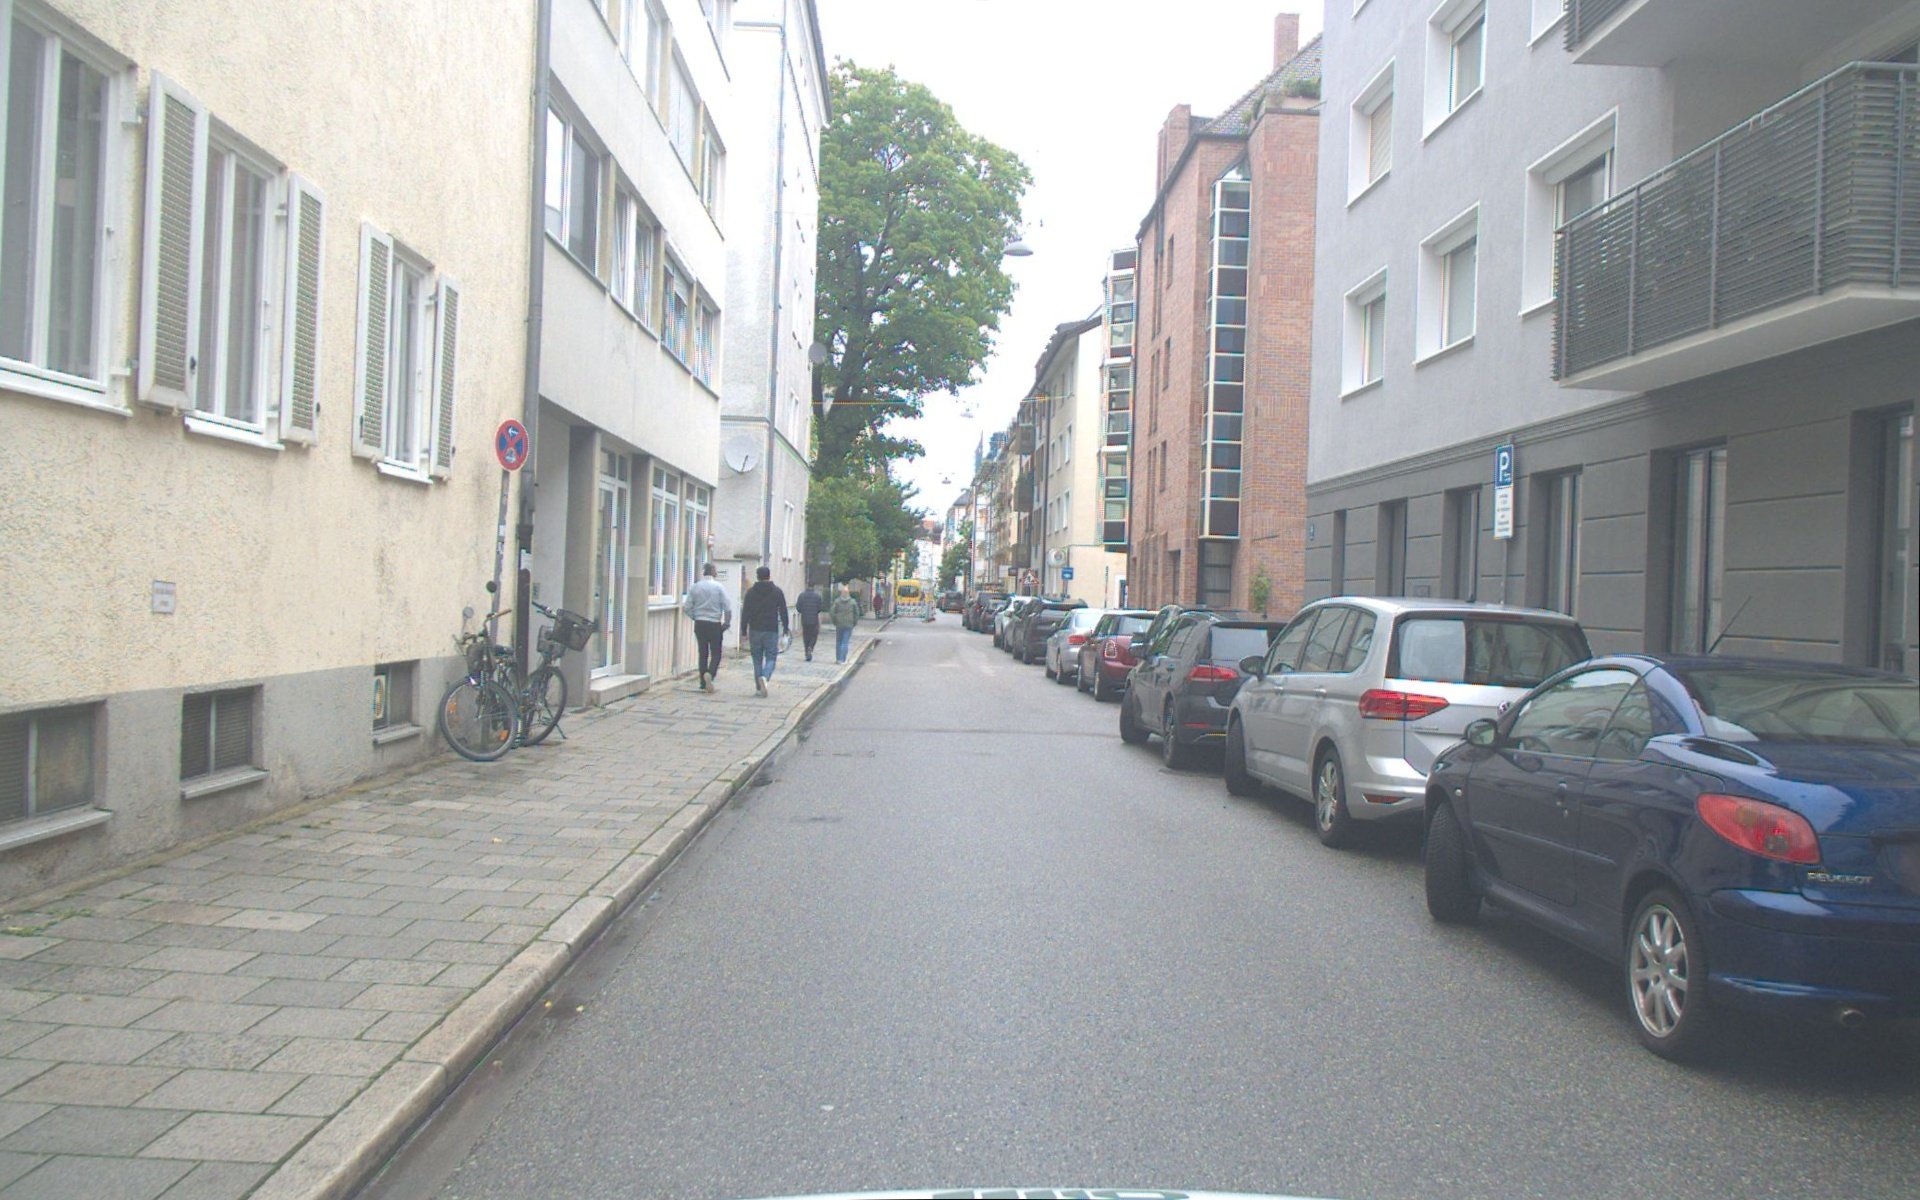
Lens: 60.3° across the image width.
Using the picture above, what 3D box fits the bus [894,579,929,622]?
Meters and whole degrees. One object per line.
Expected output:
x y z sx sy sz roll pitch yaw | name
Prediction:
-3.614 0.054 123.856 2.540 3.156 6.304 1 0 -1 | bus

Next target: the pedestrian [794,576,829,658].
-3.227 0.368 36.023 0.600 1.743 0.823 4 -1 -2 | pedestrian

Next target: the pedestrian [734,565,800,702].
-2.637 0.453 22.664 0.704 1.796 0.838 3 -1 -1 | pedestrian

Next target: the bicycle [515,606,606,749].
-3.539 0.653 14.753 0.551 1.179 1.718 2 0 -7 | bicycle

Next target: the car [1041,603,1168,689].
2.688 0.832 31.830 1.800 1.442 4.598 2 0 -3 | car

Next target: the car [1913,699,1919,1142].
3.635 0.824 2.495 1.763 1.410 4.347 1 0 -2 | car

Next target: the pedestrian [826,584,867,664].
-2.468 0.523 36.115 0.738 1.688 0.906 4 -1 -2 | pedestrian

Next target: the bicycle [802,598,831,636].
-4.551 0.520 52.305 0.465 1.130 1.751 2 0 -18 | bicycle

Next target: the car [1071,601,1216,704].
2.932 0.800 27.237 1.711 1.487 4.148 2 0 -3 | car

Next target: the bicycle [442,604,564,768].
-3.570 0.641 13.036 0.449 1.179 1.605 4 -1 -1 | bicycle

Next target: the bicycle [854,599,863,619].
-5.638 0.510 91.696 0.437 1.092 2.466 1 0 -3 | bicycle

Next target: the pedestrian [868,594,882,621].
-4.839 0.432 94.153 0.741 1.517 0.831 1 -1 -1 | pedestrian

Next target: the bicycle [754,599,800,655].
-4.180 0.596 37.703 0.632 1.239 1.655 1 -1 -20 | bicycle

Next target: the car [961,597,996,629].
0.969 0.668 90.004 1.603 1.541 3.827 5 0 -2 | car

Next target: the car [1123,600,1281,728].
3.199 0.802 22.377 1.491 1.538 3.200 2 0 -3 | car

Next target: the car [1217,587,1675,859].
3.220 0.728 11.940 1.838 1.598 4.313 1 0 -3 | car

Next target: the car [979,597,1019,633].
1.714 0.649 73.781 1.592 1.513 3.807 3 0 -1 | car

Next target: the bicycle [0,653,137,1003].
-3.214 0.696 4.903 0.690 1.001 1.820 6 -1 -6 | bicycle

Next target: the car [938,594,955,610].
-1.525 0.229 184.148 1.765 1.642 3.999 2 0 -1 | car

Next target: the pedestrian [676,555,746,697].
-3.353 0.347 22.338 0.704 1.828 0.916 3 -1 -1 | pedestrian

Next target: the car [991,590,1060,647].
2.012 0.552 52.026 1.714 1.658 4.193 1 0 -4 | car

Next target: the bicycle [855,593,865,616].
-6.316 0.302 104.483 0.504 1.442 1.933 1 0 -2 | bicycle

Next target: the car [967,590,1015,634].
1.441 0.538 78.134 1.766 1.851 3.997 5 0 -4 | car

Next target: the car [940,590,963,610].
-0.823 0.006 155.797 1.766 1.741 3.824 5 0 -3 | car

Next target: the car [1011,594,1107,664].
2.438 0.687 41.672 1.848 1.582 4.388 2 0 -4 | car

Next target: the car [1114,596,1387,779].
2.778 0.773 16.813 1.803 1.555 4.290 2 0 -3 | car

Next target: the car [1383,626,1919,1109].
3.221 0.858 7.019 1.771 1.387 3.944 1 0 -1 | car
